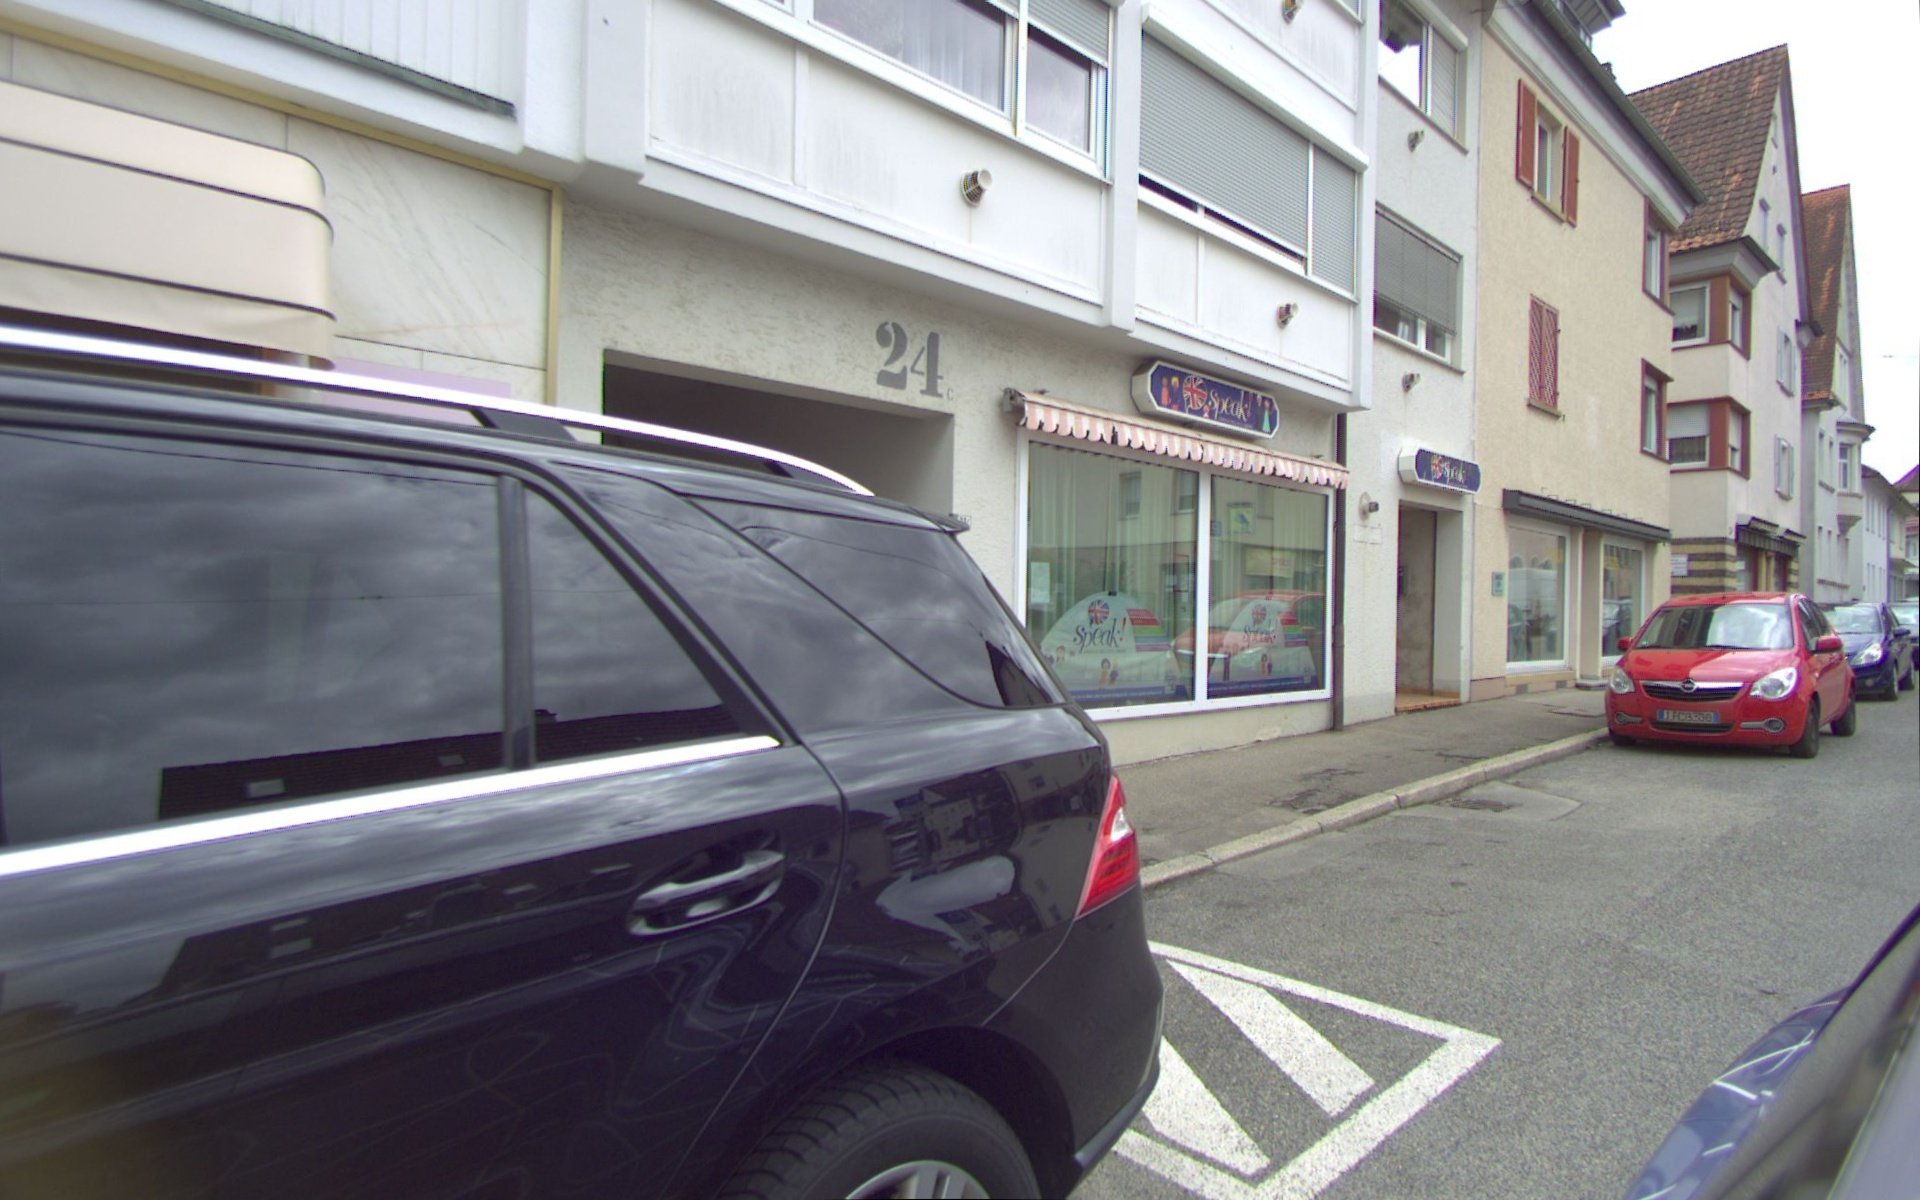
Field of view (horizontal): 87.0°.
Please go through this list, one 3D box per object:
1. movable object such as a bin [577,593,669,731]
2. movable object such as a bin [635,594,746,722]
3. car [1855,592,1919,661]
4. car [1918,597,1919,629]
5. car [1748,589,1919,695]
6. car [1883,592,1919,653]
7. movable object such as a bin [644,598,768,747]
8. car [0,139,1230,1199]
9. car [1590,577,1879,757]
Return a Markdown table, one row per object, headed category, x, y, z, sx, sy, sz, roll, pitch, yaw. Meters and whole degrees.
| category | x | y | z | sx | sy | sz | roll | pitch | yaw |
| --- | --- | --- | --- | --- | --- | --- | --- | --- | --- |
| movable object such as a bin | -2.743 | 0.485 | 8.235 | 0.524 | 1.054 | 0.556 | 1 | 1 | -40 |
| movable object such as a bin | -2.397 | 0.488 | 8.996 | 0.716 | 1.054 | 0.666 | 1 | 1 | -40 |
| car | 21.149 | 0.549 | 22.371 | 3.935 | 1.422 | 1.693 | 0 | -2 | -44 |
| car | 32.203 | 0.552 | 32.506 | 3.735 | 1.408 | 1.694 | 0 | -3 | -41 |
| car | 13.994 | 0.621 | 16.001 | 3.852 | 1.469 | 1.693 | 0 | -3 | -42 |
| car | 24.934 | 0.527 | 25.696 | 4.032 | 1.469 | 1.694 | 0 | -3 | -41 |
| movable object such as a bin | -1.955 | 0.528 | 7.787 | 0.692 | 1.054 | 0.666 | 1 | 1 | -38 |
| car | -1.714 | 0.552 | 1.255 | 4.295 | 1.802 | 1.943 | -1 | -1 | -42 |
| car | 8.282 | 0.606 | 10.724 | 3.631 | 1.576 | 1.694 | 0 | -2 | -41 |
